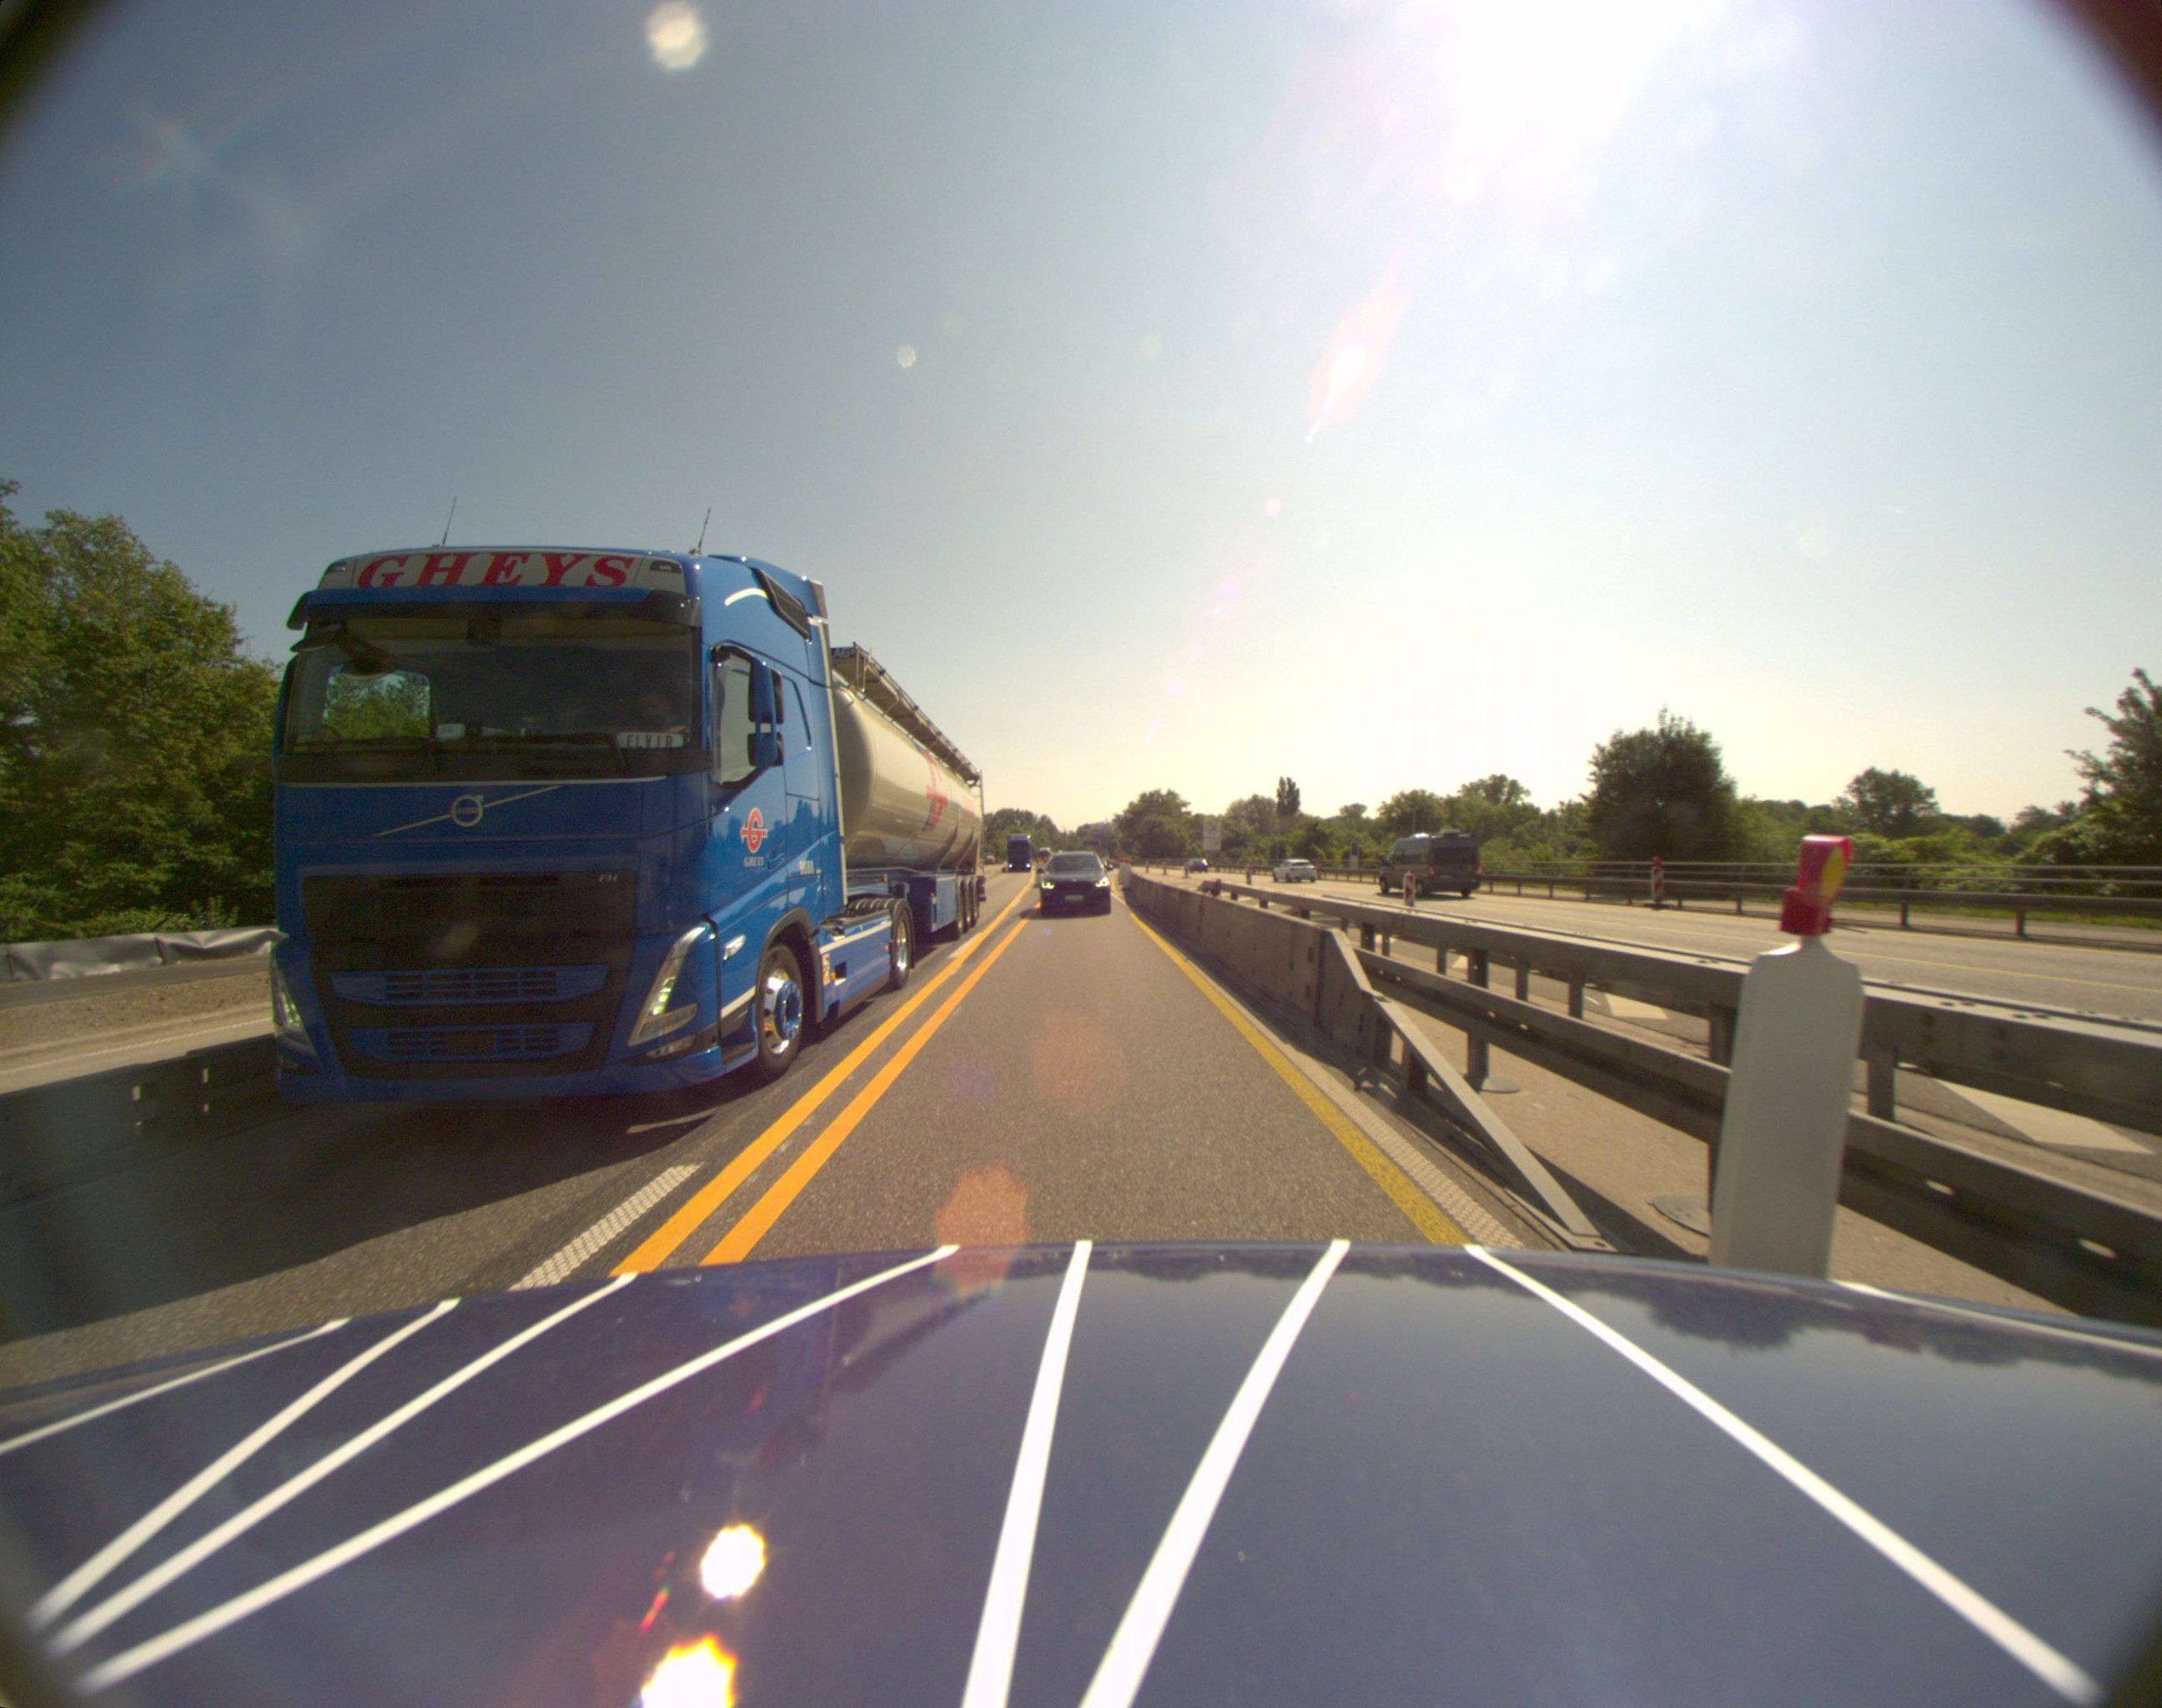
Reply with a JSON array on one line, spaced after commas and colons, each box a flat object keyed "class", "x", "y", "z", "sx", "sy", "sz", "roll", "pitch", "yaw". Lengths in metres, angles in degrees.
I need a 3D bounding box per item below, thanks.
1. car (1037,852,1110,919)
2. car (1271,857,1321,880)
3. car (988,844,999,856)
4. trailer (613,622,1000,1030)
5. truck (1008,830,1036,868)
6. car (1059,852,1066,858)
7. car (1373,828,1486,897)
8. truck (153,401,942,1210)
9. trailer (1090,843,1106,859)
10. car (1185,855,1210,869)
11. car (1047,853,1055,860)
[{"class": "car", "x": -0.155, "y": 0.794, "z": 21.586, "sx": 1.789, "sy": 1.651, "sz": 4.487, "roll": -2, "pitch": 0, "yaw": 1}, {"class": "car", "x": 13.729, "y": 0.884, "z": 48.734, "sx": 1.724, "sy": 1.389, "sz": 4.518, "roll": -1, "pitch": 0, "yaw": -3}, {"class": "car", "x": -19.307, "y": -0.841, "z": 167.991, "sx": 2.111, "sy": 2.626, "sz": 5.979, "roll": 1, "pitch": 0, "yaw": -9}, {"class": "trailer", "x": -3.478, "y": -0.293, "z": 14.105, "sx": 2.701, "sy": 4.113, "sz": 12.612, "roll": -2, "pitch": 0, "yaw": -1}, {"class": "truck", "x": -6.466, "y": -0.533, "z": 84.092, "sx": 2.862, "sy": 3.961, "sz": 8.662, "roll": 1, "pitch": 0, "yaw": -3}, {"class": "car", "x": -5.982, "y": 0.440, "z": 248.775, "sx": 1.998, "sy": 2.002, "sz": 4.000, "roll": 1, "pitch": 0, "yaw": 2}, {"class": "car", "x": 14.510, "y": 0.333, "z": 32.093, "sx": 2.151, "sy": 2.645, "sz": 5.545, "roll": 0, "pitch": 0, "yaw": -1}, {"class": "truck", "x": -3.354, "y": -0.249, "z": 7.514, "sx": 2.701, "sy": 4.078, "sz": 7.299, "roll": -1, "pitch": 0, "yaw": -1}, {"class": "trailer", "x": 4.351, "y": -0.743, "z": 196.845, "sx": 2.769, "sy": 4.112, "sz": 14.525, "roll": 1, "pitch": 0, "yaw": -4}, {"class": "car", "x": 12.138, "y": 0.815, "z": 79.322, "sx": 1.742, "sy": 1.467, "sz": 4.644, "roll": 0, "pitch": 0, "yaw": -2}, {"class": "car", "x": -6.799, "y": 0.626, "z": 174.280, "sx": 1.747, "sy": 1.621, "sz": 4.092, "roll": 1, "pitch": 0, "yaw": 0}]
